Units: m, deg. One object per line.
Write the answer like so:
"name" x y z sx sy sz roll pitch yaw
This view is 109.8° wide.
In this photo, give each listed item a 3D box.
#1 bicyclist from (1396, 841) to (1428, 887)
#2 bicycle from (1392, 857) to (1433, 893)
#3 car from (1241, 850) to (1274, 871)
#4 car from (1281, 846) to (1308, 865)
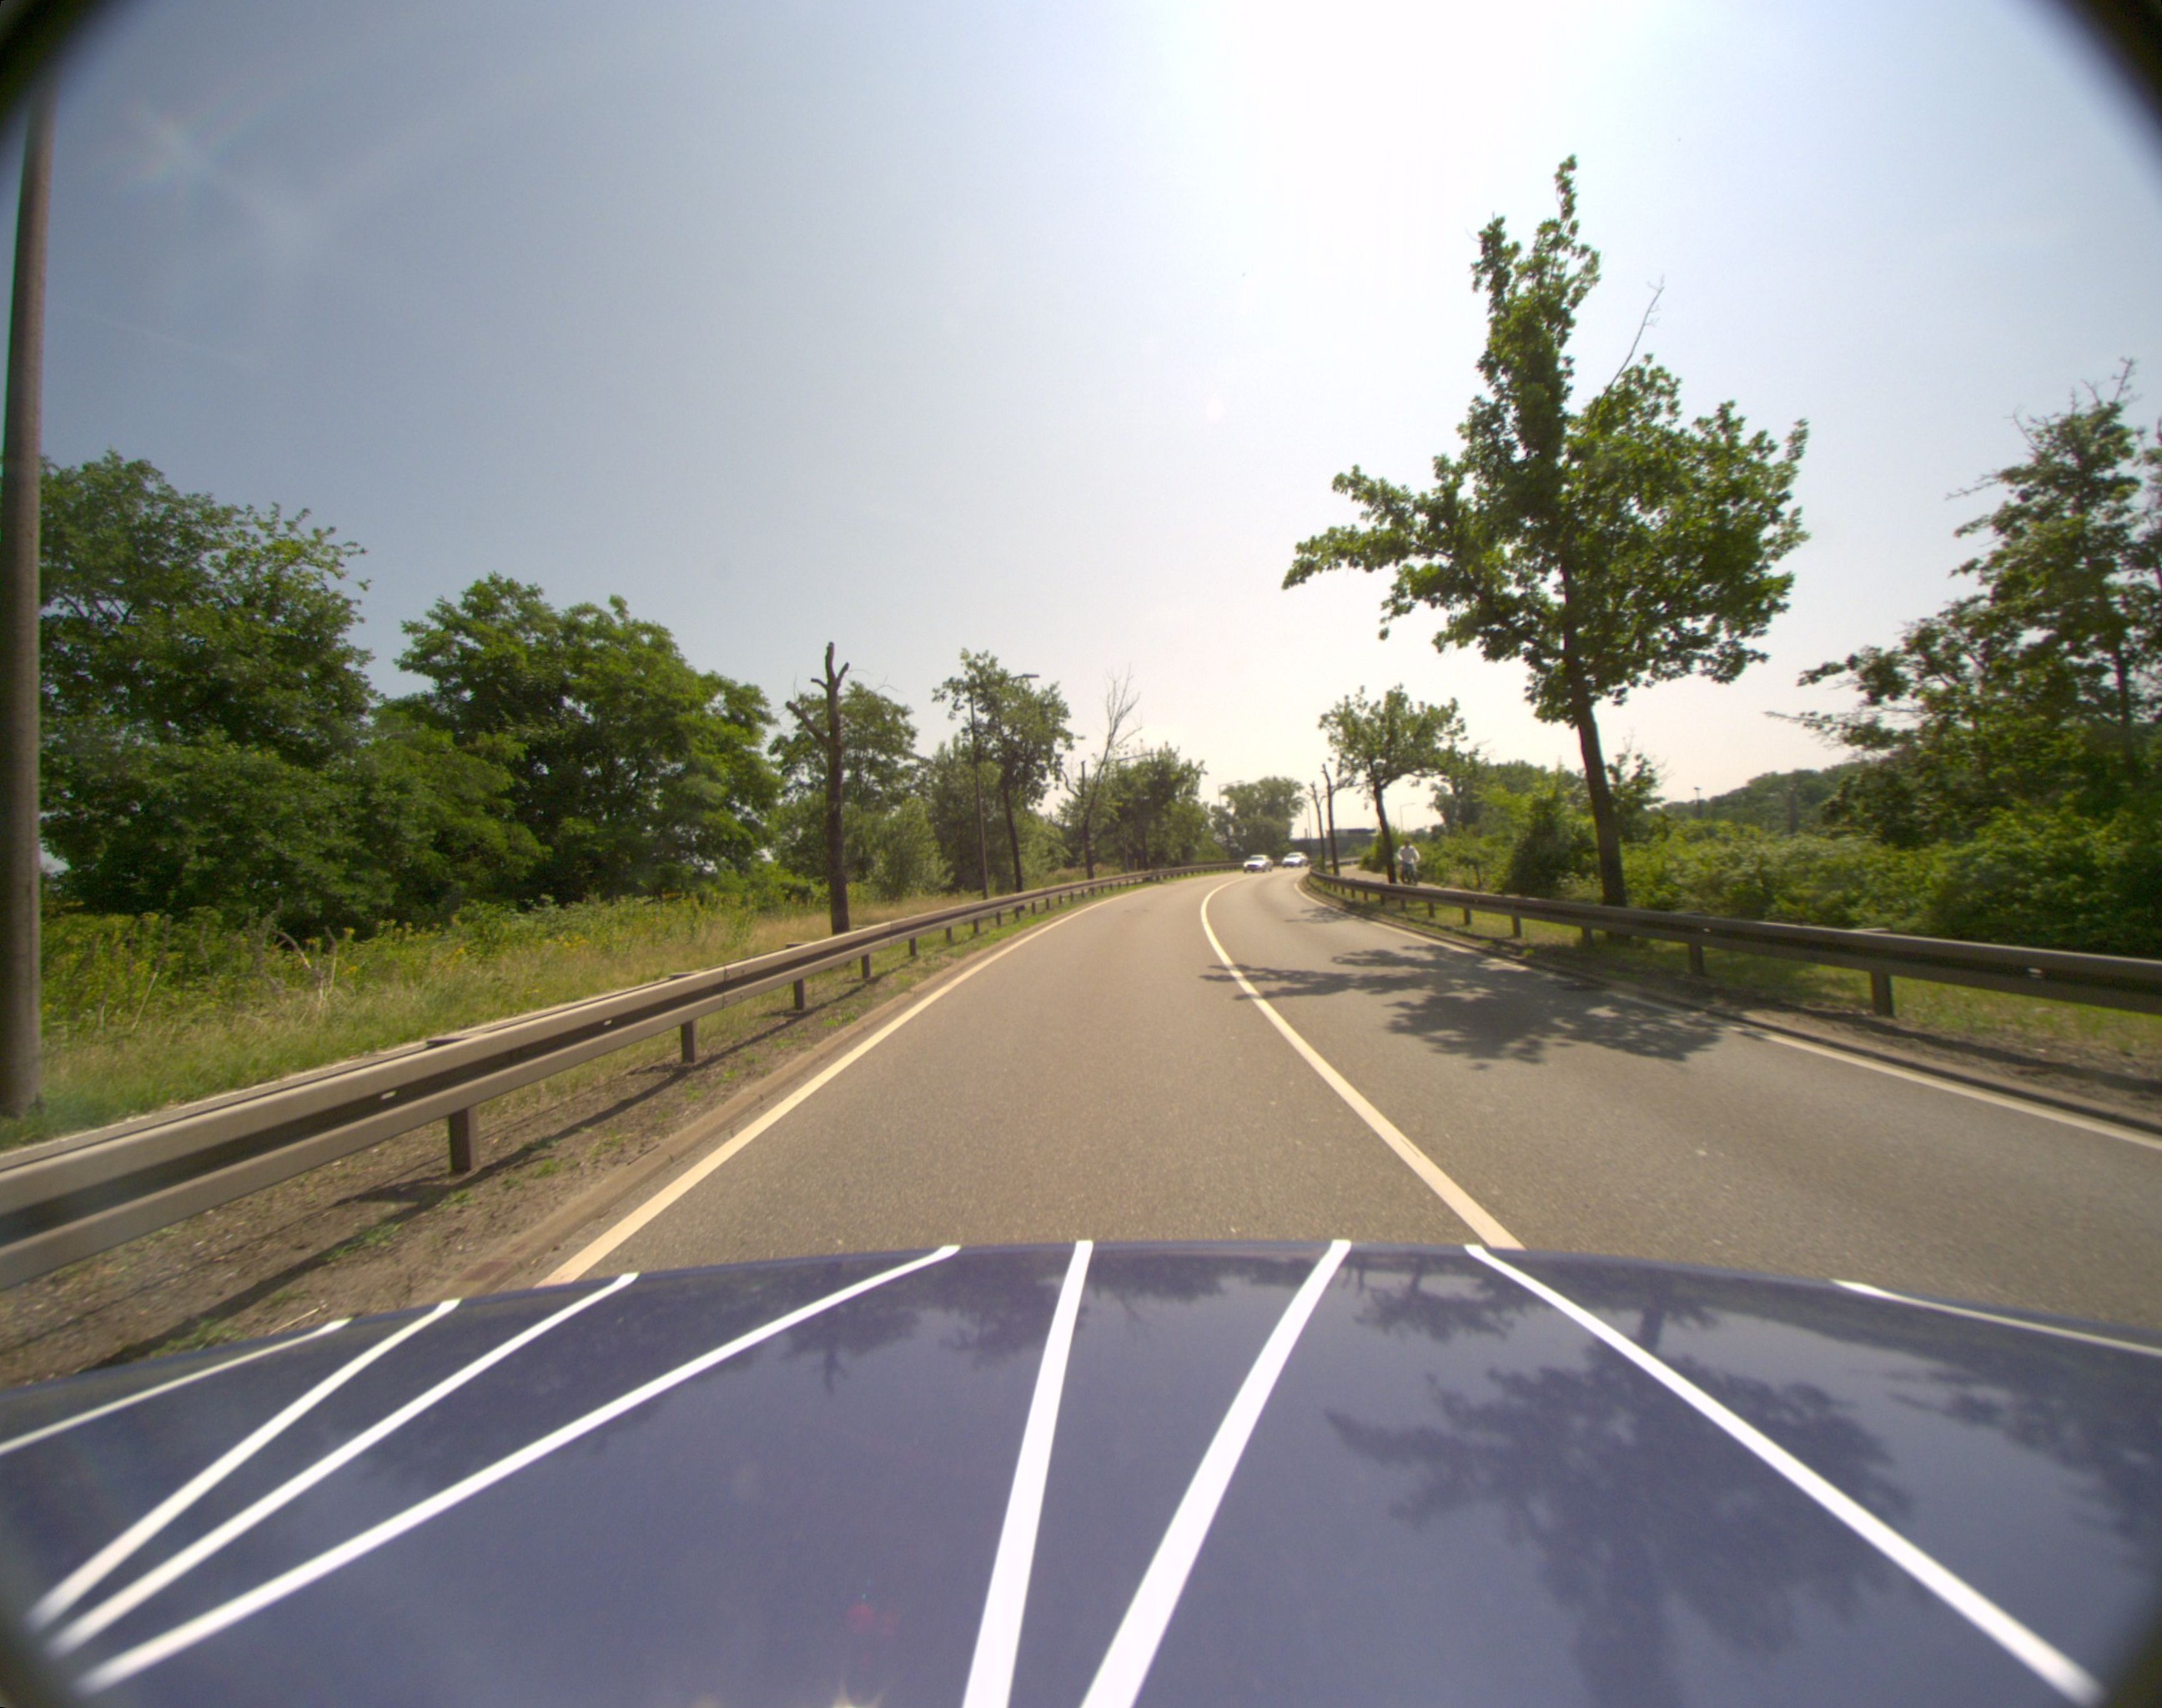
"bicyclist" 10.699 0.300 24.578 0.731 1.457 0.824 0 1 9
"bicycle" 10.717 0.655 24.644 0.735 1.110 2.047 0 1 9
"car" 14.570 0.525 62.653 1.760 1.490 4.240 -2 0 25
"car" 21.443 0.146 76.263 1.796 1.772 4.300 -2 1 27
